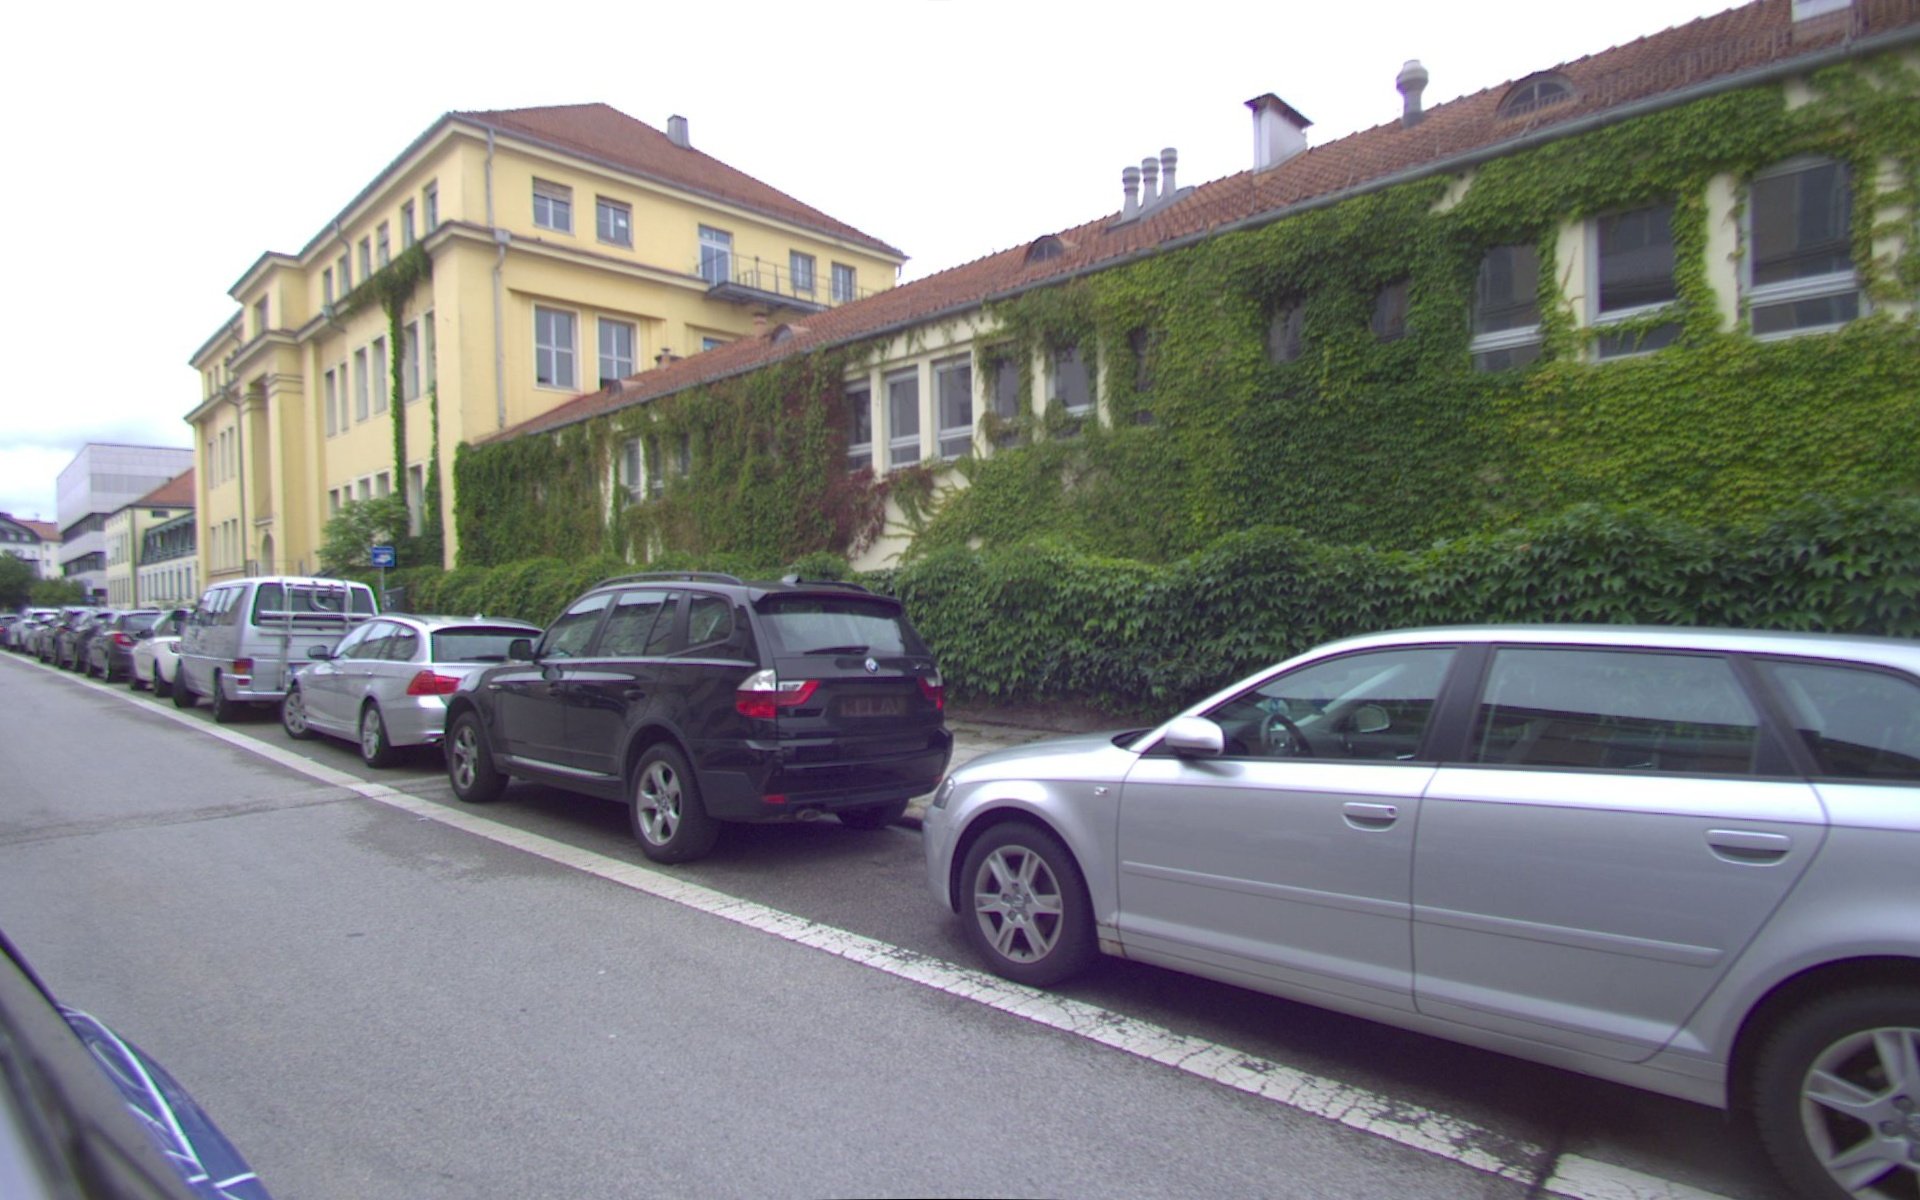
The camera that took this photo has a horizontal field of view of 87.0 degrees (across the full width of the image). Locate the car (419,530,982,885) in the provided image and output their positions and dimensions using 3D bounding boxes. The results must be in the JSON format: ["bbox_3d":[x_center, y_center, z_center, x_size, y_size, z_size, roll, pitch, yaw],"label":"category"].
[{"bbox_3d":[-2.056,0.576,7.079,4.424,1.743,1.602,0,-4,43],"label":"car"}]

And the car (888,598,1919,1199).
[{"bbox_3d":[1.760,0.730,3.509,4.070,1.388,1.602,0,-3,42],"label":"car"}]

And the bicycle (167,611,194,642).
[{"bbox_3d":[-31.228,1.055,40.538,1.562,1.197,0.570,-1,3,44],"label":"bicycle"}]

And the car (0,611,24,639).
[{"bbox_3d":[-51.180,1.329,53.768,3.995,1.408,1.657,-1,-3,41],"label":"car"}]

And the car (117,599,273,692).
[{"bbox_3d":[-13.745,0.771,18.114,3.730,1.504,1.561,0,-3,43],"label":"car"}]

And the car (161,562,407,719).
[{"bbox_3d":[-9.833,0.524,14.552,4.760,1.889,1.971,0,-2,45],"label":"car"}]

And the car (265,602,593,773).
[{"bbox_3d":[-5.745,0.780,10.676,4.425,1.433,1.682,0,-3,44],"label":"car"}]

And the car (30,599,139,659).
[{"bbox_3d":[-24.802,0.822,28.629,4.194,1.550,1.763,-1,-3,42],"label":"car"}]

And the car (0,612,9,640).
[{"bbox_3d":[-55.364,1.452,57.386,3.995,1.578,1.657,-1,-3,41],"label":"car"}]

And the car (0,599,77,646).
[{"bbox_3d":[-34.676,0.791,38.023,4.354,1.646,1.663,0,1,41],"label":"car"}]

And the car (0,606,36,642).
[{"bbox_3d":[-42.221,1.030,44.742,3.986,1.507,1.661,-1,-3,43],"label":"car"}]

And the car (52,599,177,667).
[{"bbox_3d":[-21.053,0.792,25.160,4.148,1.549,1.763,0,-2,42],"label":"car"}]

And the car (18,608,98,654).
[{"bbox_3d":[-30.588,1.005,34.292,3.895,1.436,1.662,0,1,43],"label":"car"}]

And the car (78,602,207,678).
[{"bbox_3d":[-17.508,0.813,21.624,3.904,1.466,1.561,0,-2,43],"label":"car"}]
